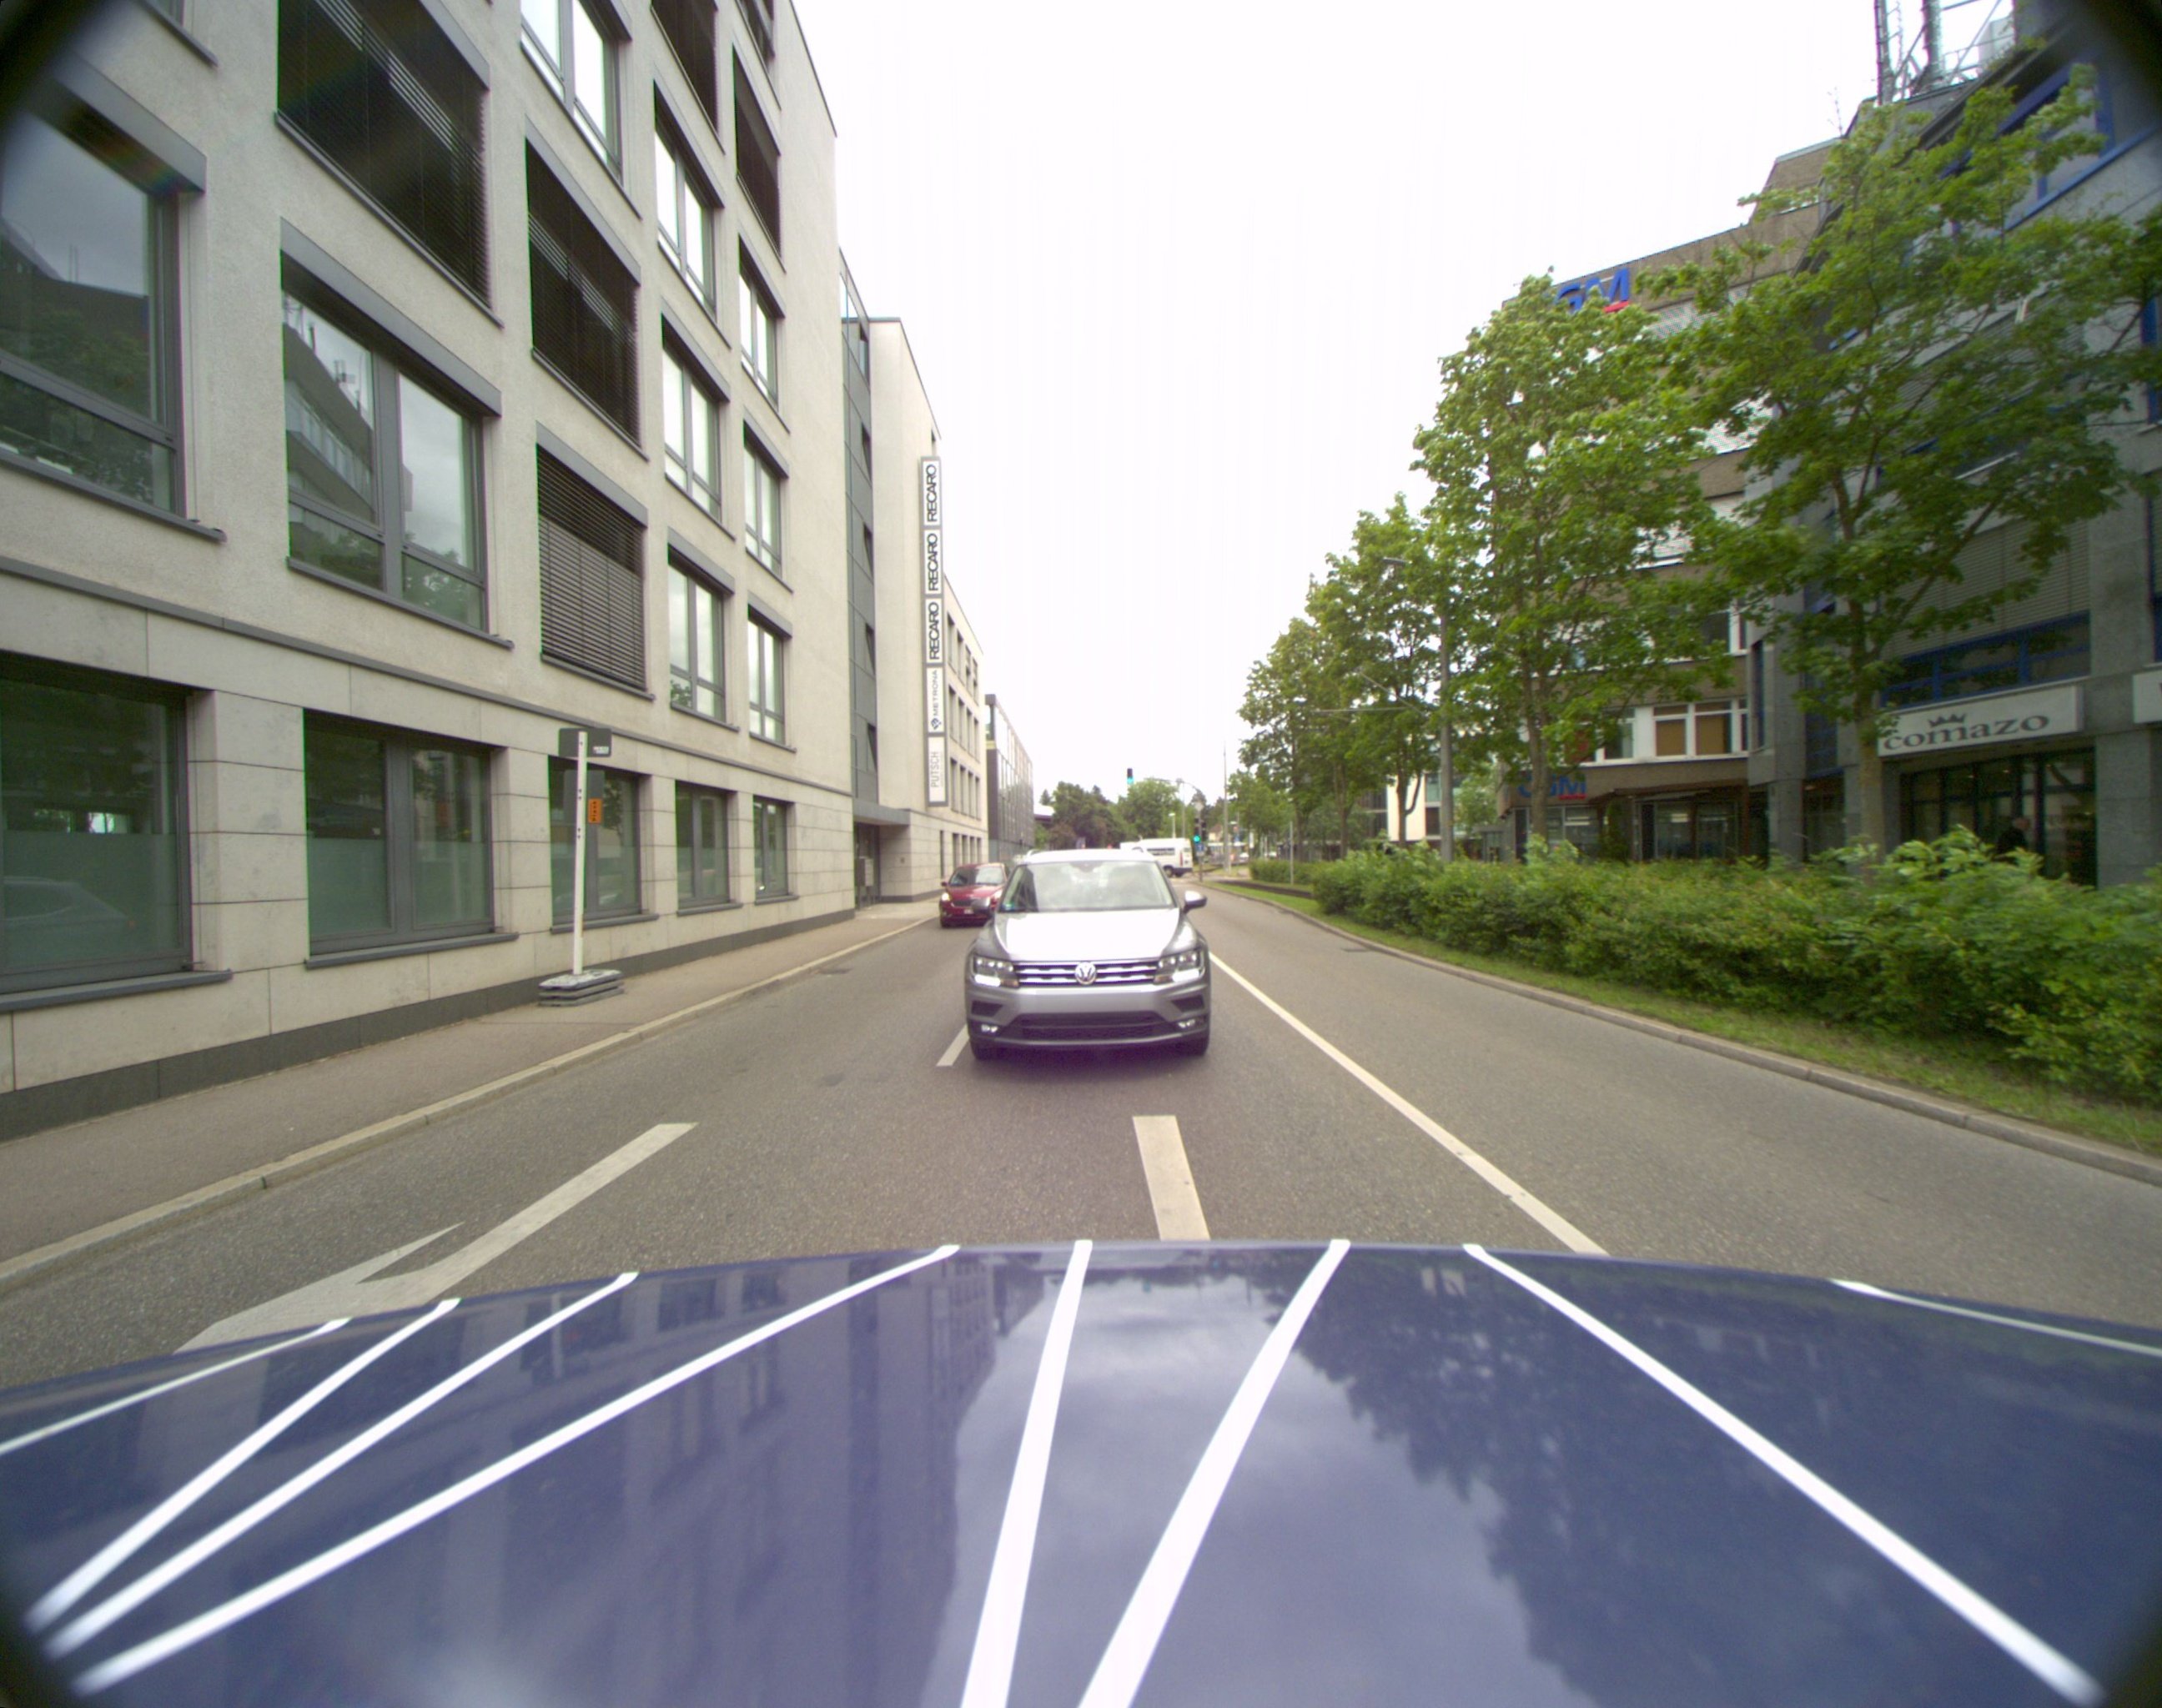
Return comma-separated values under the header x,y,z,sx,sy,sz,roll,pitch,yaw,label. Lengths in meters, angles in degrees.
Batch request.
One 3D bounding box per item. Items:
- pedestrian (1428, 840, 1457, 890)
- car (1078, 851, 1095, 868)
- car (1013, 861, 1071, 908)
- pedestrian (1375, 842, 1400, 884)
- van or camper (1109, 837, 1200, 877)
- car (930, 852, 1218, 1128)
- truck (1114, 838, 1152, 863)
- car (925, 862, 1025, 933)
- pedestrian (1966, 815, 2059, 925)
x,y,z,sx,sy,sz,roll,pitch,yaw,label
13.387,0.407,28.156,0.680,1.795,0.731,-2,1,-4,pedestrian
0.721,0.674,96.108,1.998,2.002,4.000,-2,1,1,car
-1.368,1.071,28.242,1.825,1.449,4.408,-3,0,1,car
14.512,0.421,35.976,0.816,1.912,0.731,-2,1,0,pedestrian
5.278,0.209,54.980,6.135,2.718,2.118,-1,1,33,van or camper
-0.011,0.862,7.053,1.798,1.716,4.458,-1,0,1,car
8.137,-0.621,116.877,2.317,3.626,8.024,-1,1,31,truck
-2.588,1.023,19.555,1.890,1.483,4.000,-4,0,1,car
16.689,0.276,13.628,0.776,1.883,0.731,-2,1,0,pedestrian
